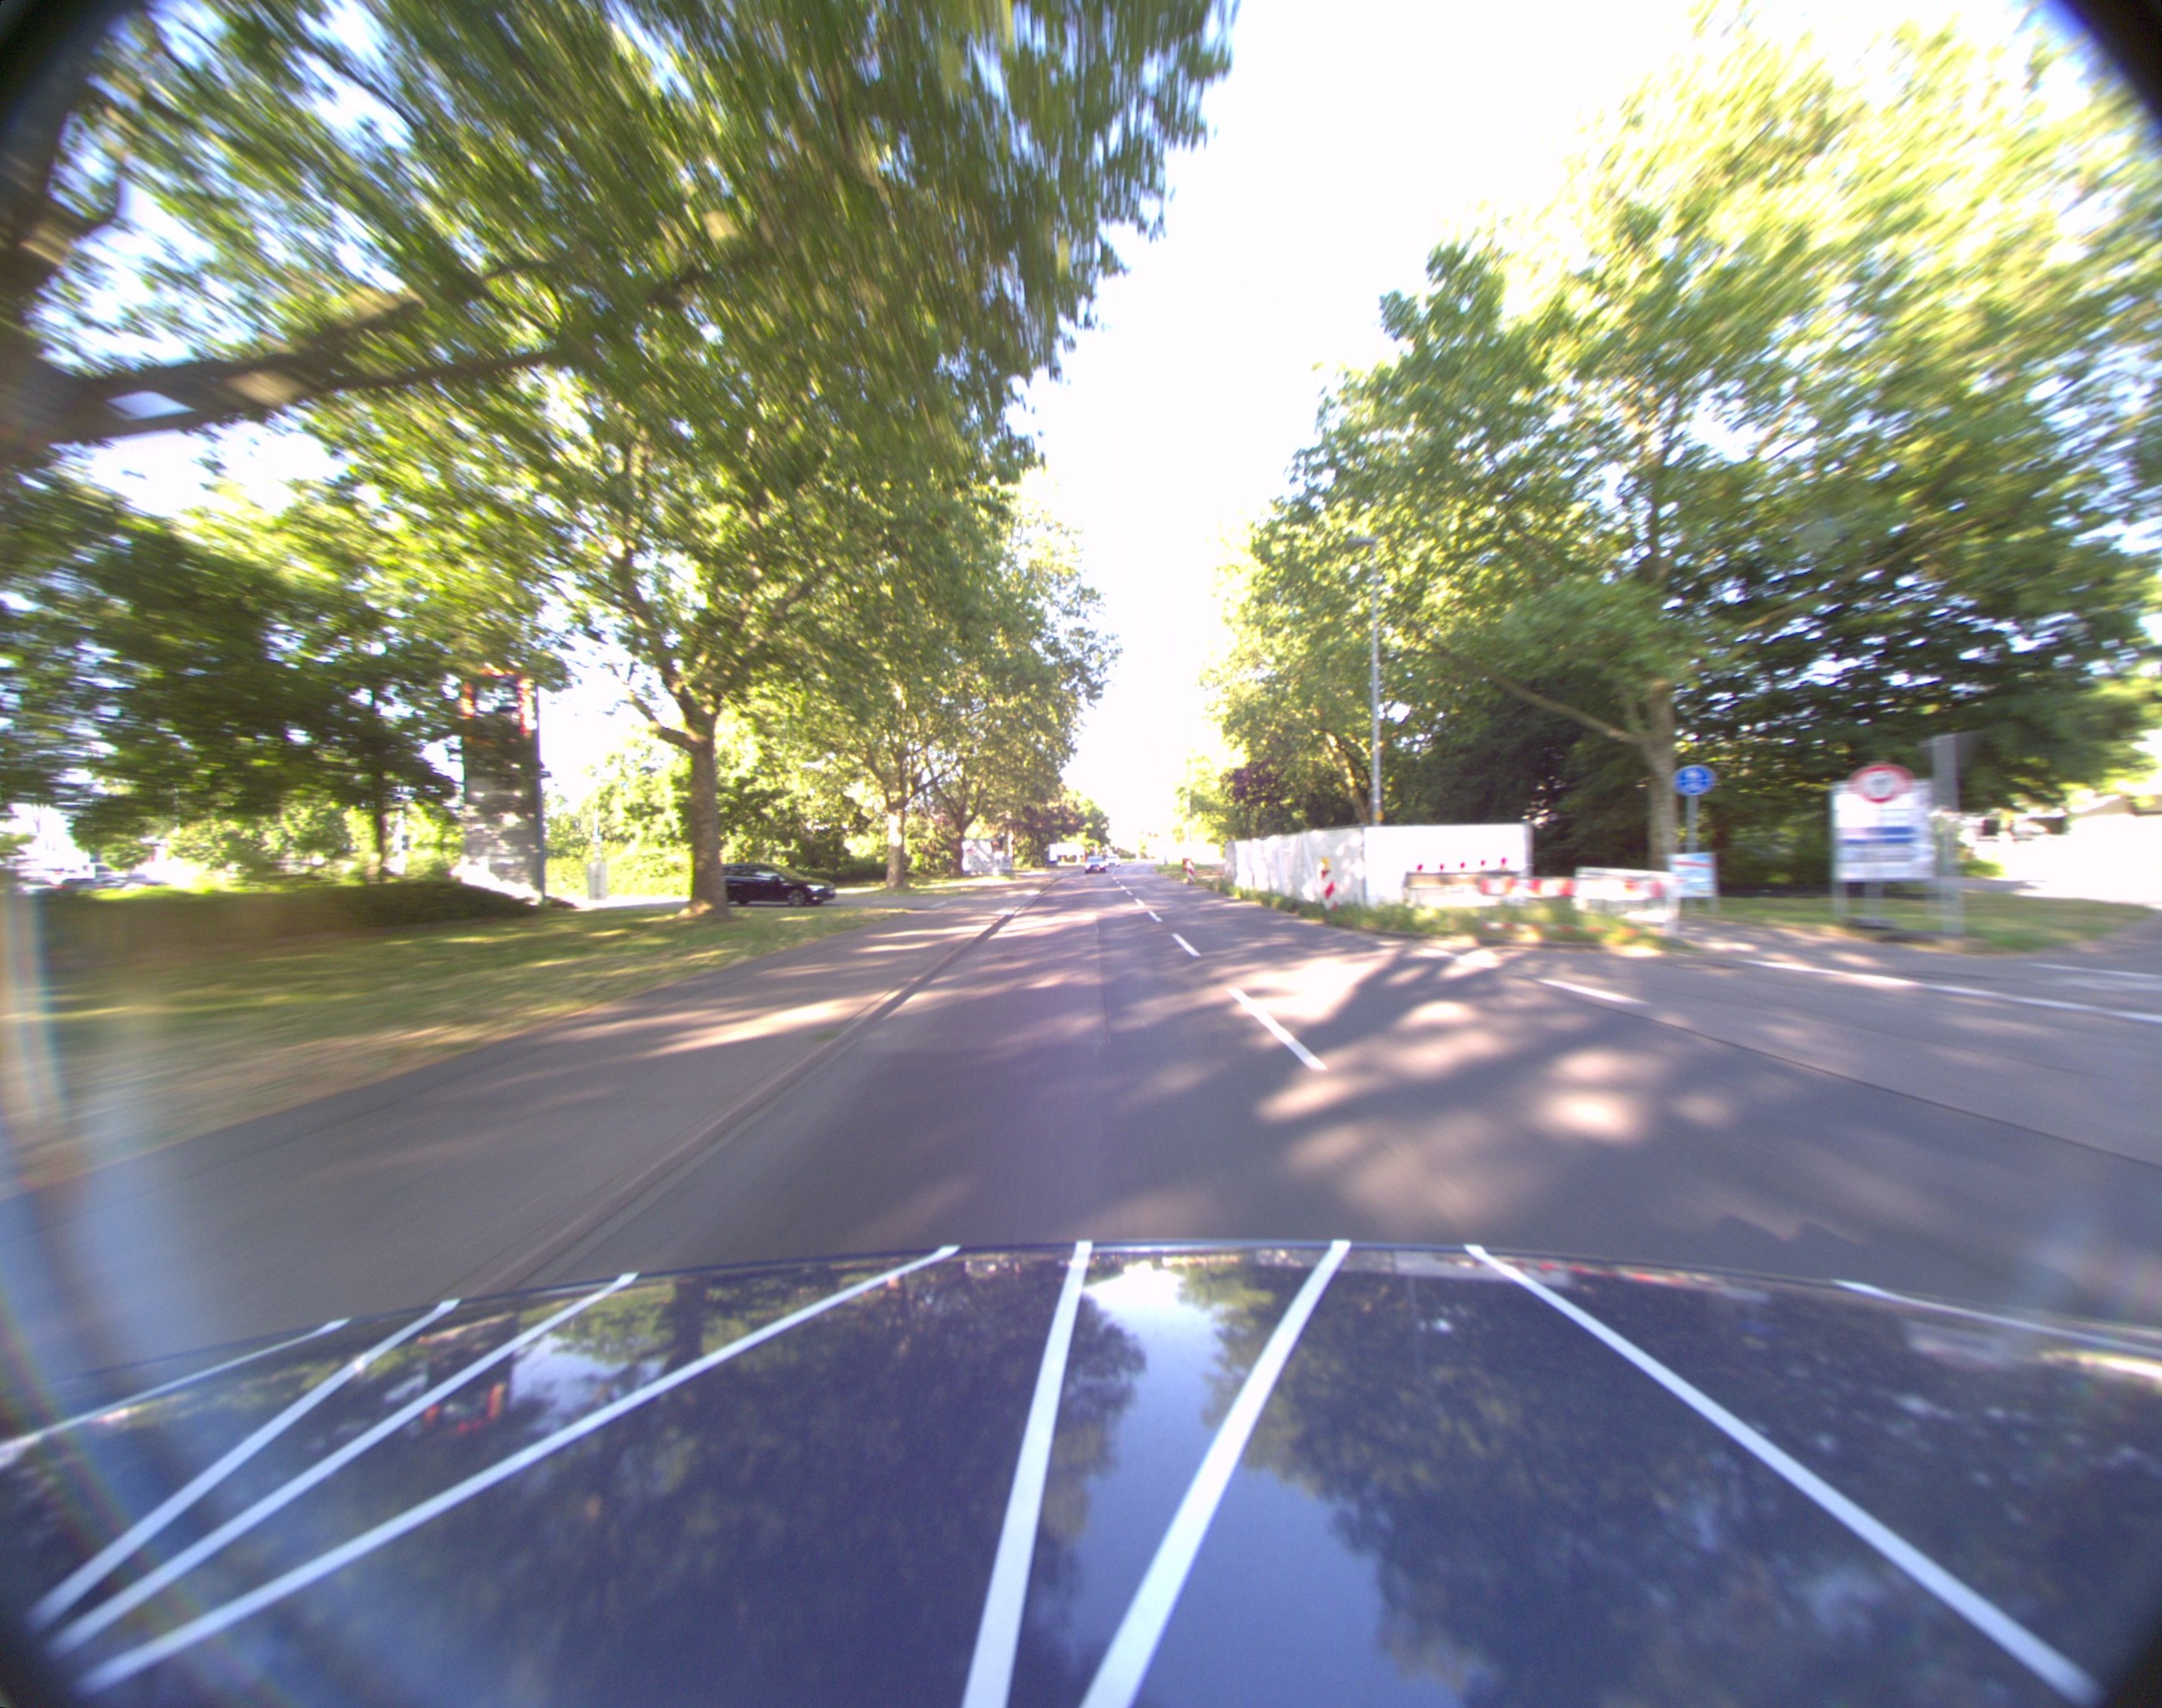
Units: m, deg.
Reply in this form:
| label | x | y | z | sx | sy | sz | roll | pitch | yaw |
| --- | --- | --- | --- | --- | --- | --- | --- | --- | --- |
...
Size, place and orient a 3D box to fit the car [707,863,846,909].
| label | x | y | z | sx | sy | sz | roll | pitch | yaw |
| --- | --- | --- | --- | --- | --- | --- | --- | --- | --- |
| car | -10.290 | 1.074 | 25.880 | 3.996 | 1.435 | 1.761 | -1 | 1 | 4 |

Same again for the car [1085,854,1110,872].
| label | x | y | z | sx | sy | sz | roll | pitch | yaw |
| --- | --- | --- | --- | --- | --- | --- | --- | --- | --- |
| car | 1.447 | 0.719 | 65.677 | 1.869 | 1.471 | 4.088 | -1 | 0 | 5 |

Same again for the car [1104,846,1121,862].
| label | x | y | z | sx | sy | sz | roll | pitch | yaw |
| --- | --- | --- | --- | --- | --- | --- | --- | --- | --- |
| car | 4.176 | 0.019 | 99.211 | 1.933 | 2.002 | 4.001 | -1 | 1 | 6 |

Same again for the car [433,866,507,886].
| label | x | y | z | sx | sy | sz | roll | pitch | yaw |
| --- | --- | --- | --- | --- | --- | --- | --- | --- | --- |
| car | -45.607 | 1.622 | 56.827 | 1.997 | 1.346 | 4.002 | -1 | 0 | 7 |

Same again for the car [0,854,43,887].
| label | x | y | z | sx | sy | sz | roll | pitch | yaw |
| --- | --- | --- | --- | --- | --- | --- | --- | --- | --- |
| car | -52.845 | 0.842 | 36.167 | 4.584 | 1.543 | 2.001 | -2 | 0 | 6 |

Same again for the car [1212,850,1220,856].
| label | x | y | z | sx | sy | sz | roll | pitch | yaw |
| --- | --- | --- | --- | --- | --- | --- | --- | --- | --- |
| car | 37.730 | -0.373 | 212.526 | 1.763 | 1.474 | 4.113 | -3 | -1 | 16 |
